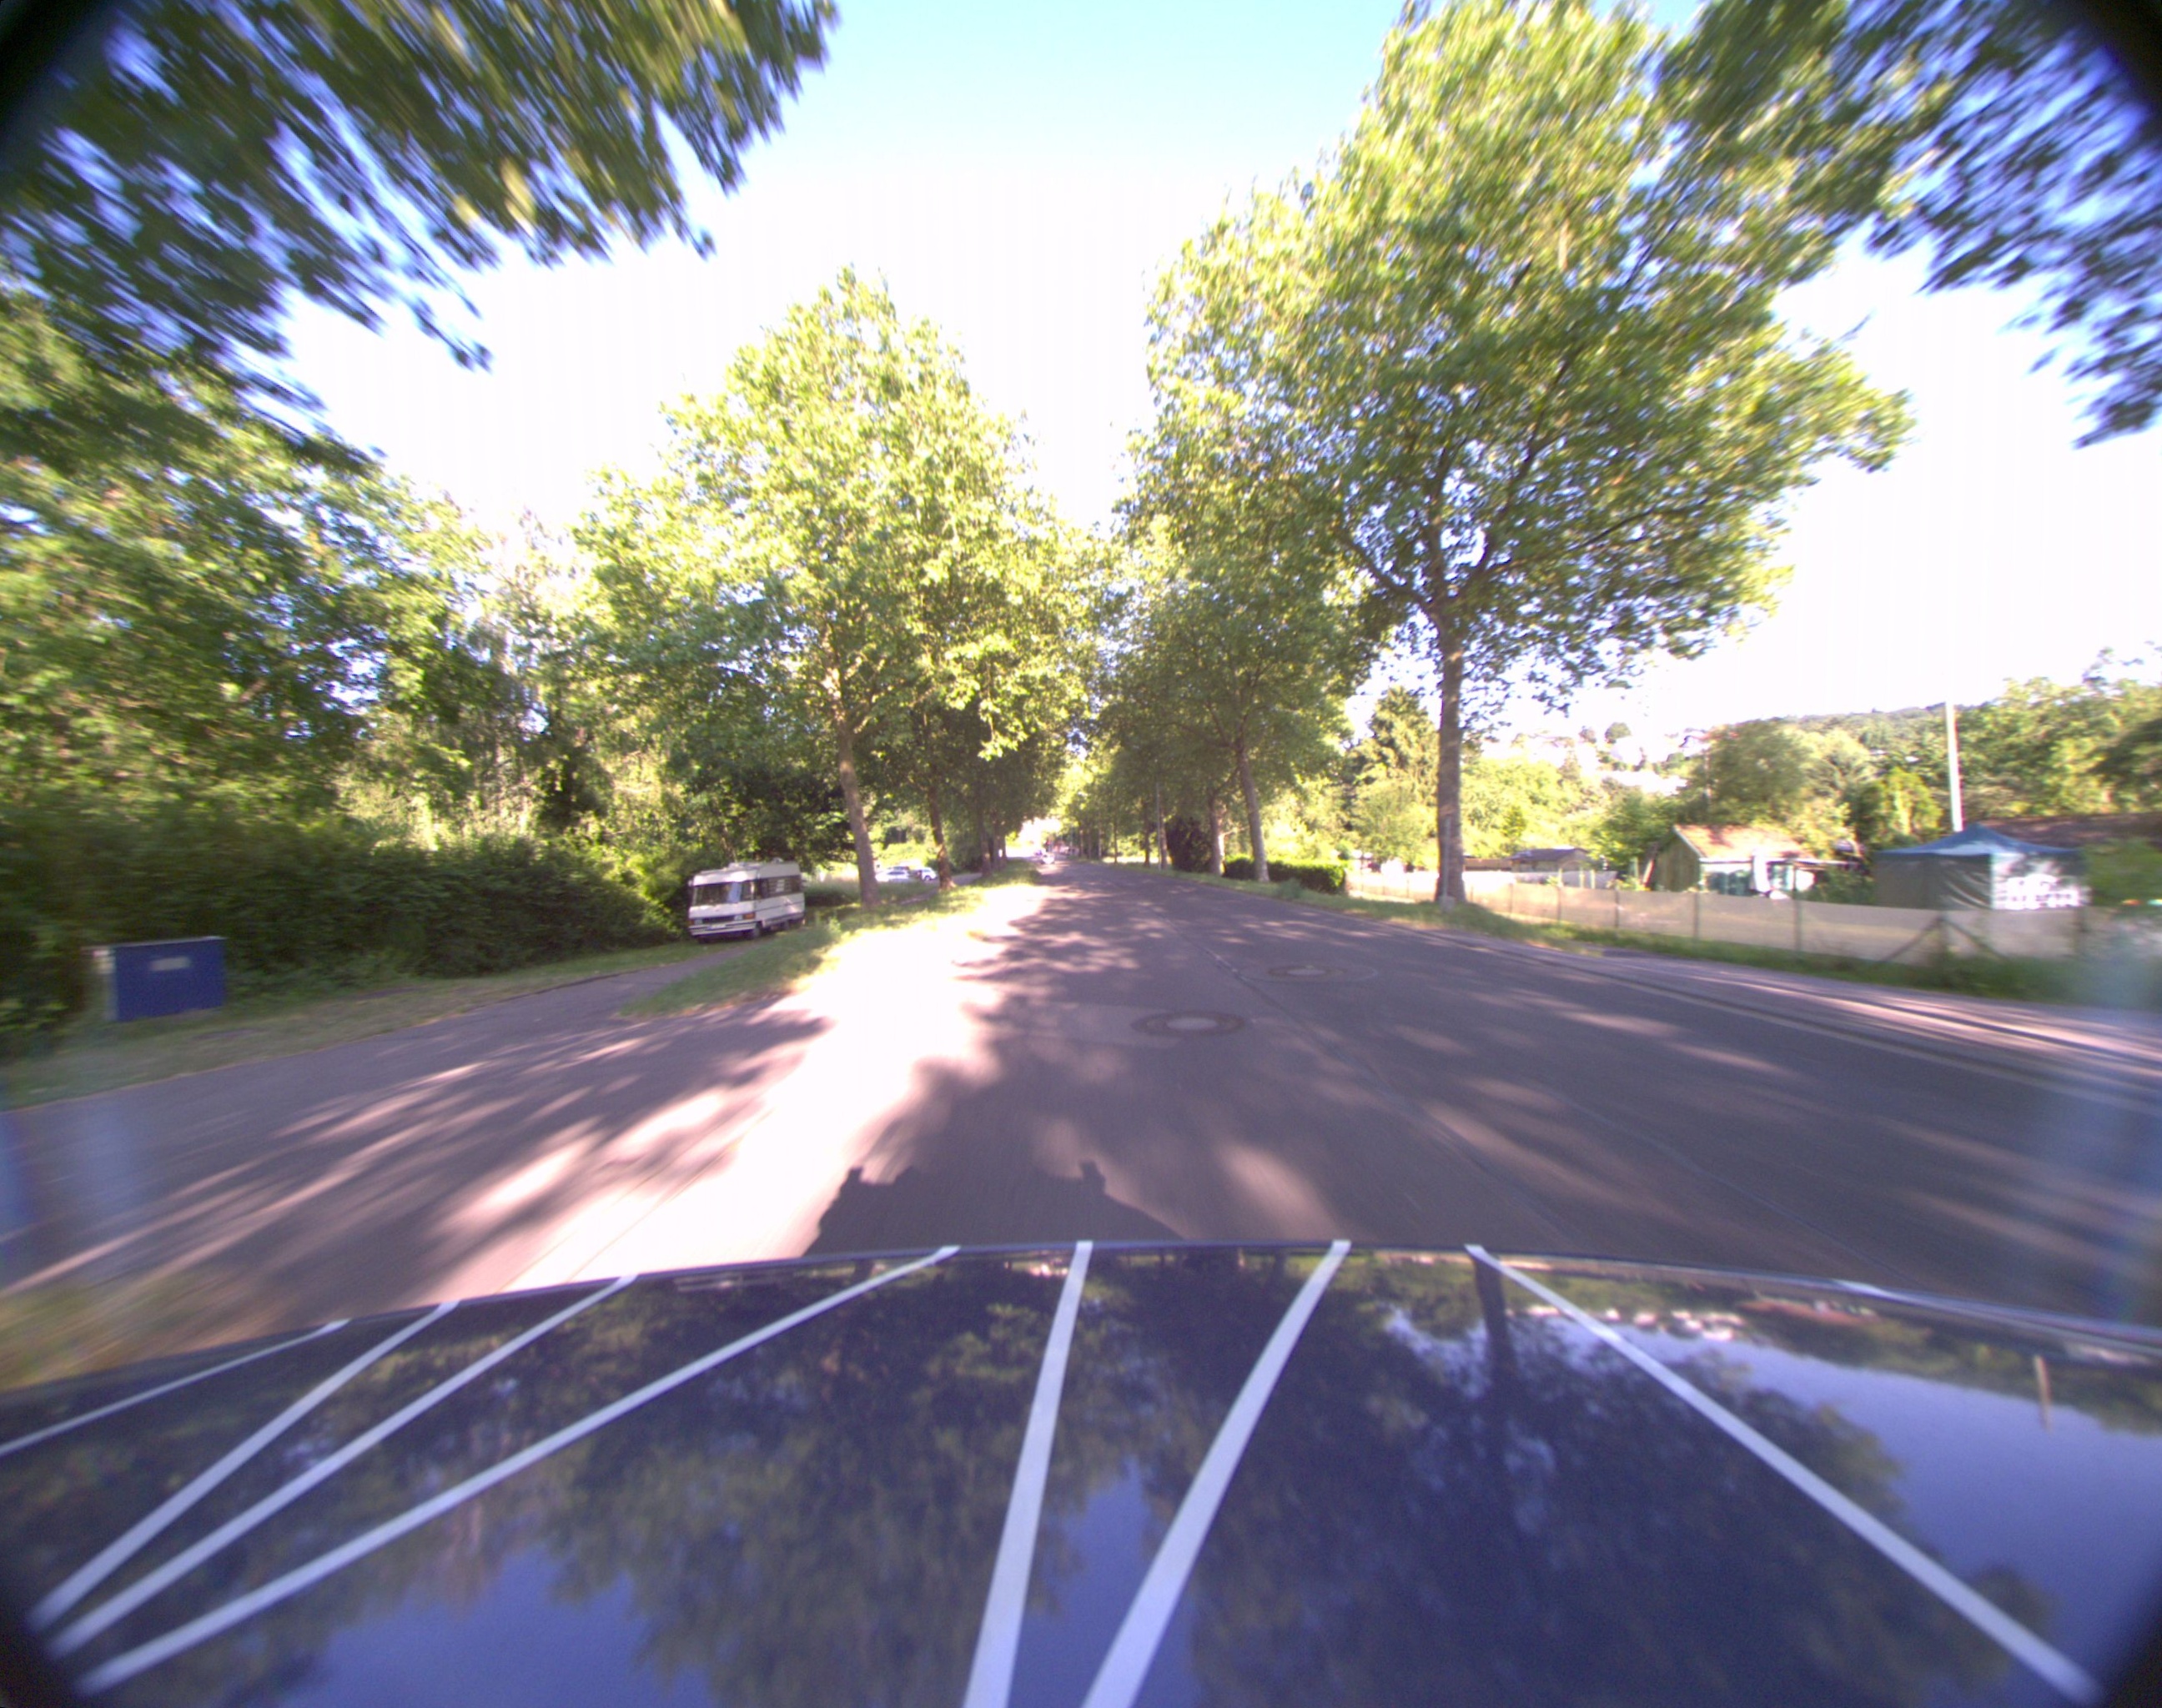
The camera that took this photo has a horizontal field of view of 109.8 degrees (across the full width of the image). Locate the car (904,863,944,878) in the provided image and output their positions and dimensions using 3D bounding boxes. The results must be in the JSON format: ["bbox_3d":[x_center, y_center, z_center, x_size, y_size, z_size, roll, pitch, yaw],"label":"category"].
[{"bbox_3d":[-17.626,1.871,85.481,3.995,1.378,2.000,-3,1,6],"label":"car"}]

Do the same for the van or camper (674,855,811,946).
[{"bbox_3d":[-12.153,1.550,27.900,2.387,2.784,5.683,-3,1,-1],"label":"van or camper"}]

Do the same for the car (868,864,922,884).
[{"bbox_3d":[-17.943,1.909,73.380,4.510,1.660,2.000,-3,1,6],"label":"car"}]

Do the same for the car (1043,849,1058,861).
[{"bbox_3d":[-4.387,0.134,109.023,1.999,1.656,3.998,-3,1,-4],"label":"car"}]

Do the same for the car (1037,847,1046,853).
[{"bbox_3d":[-9.324,-1.004,180.331,1.869,1.421,3.999,-1,1,1],"label":"car"}]

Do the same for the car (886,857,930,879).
[{"bbox_3d":[-18.082,1.465,79.426,3.995,2.002,2.000,-3,1,6],"label":"car"}]
